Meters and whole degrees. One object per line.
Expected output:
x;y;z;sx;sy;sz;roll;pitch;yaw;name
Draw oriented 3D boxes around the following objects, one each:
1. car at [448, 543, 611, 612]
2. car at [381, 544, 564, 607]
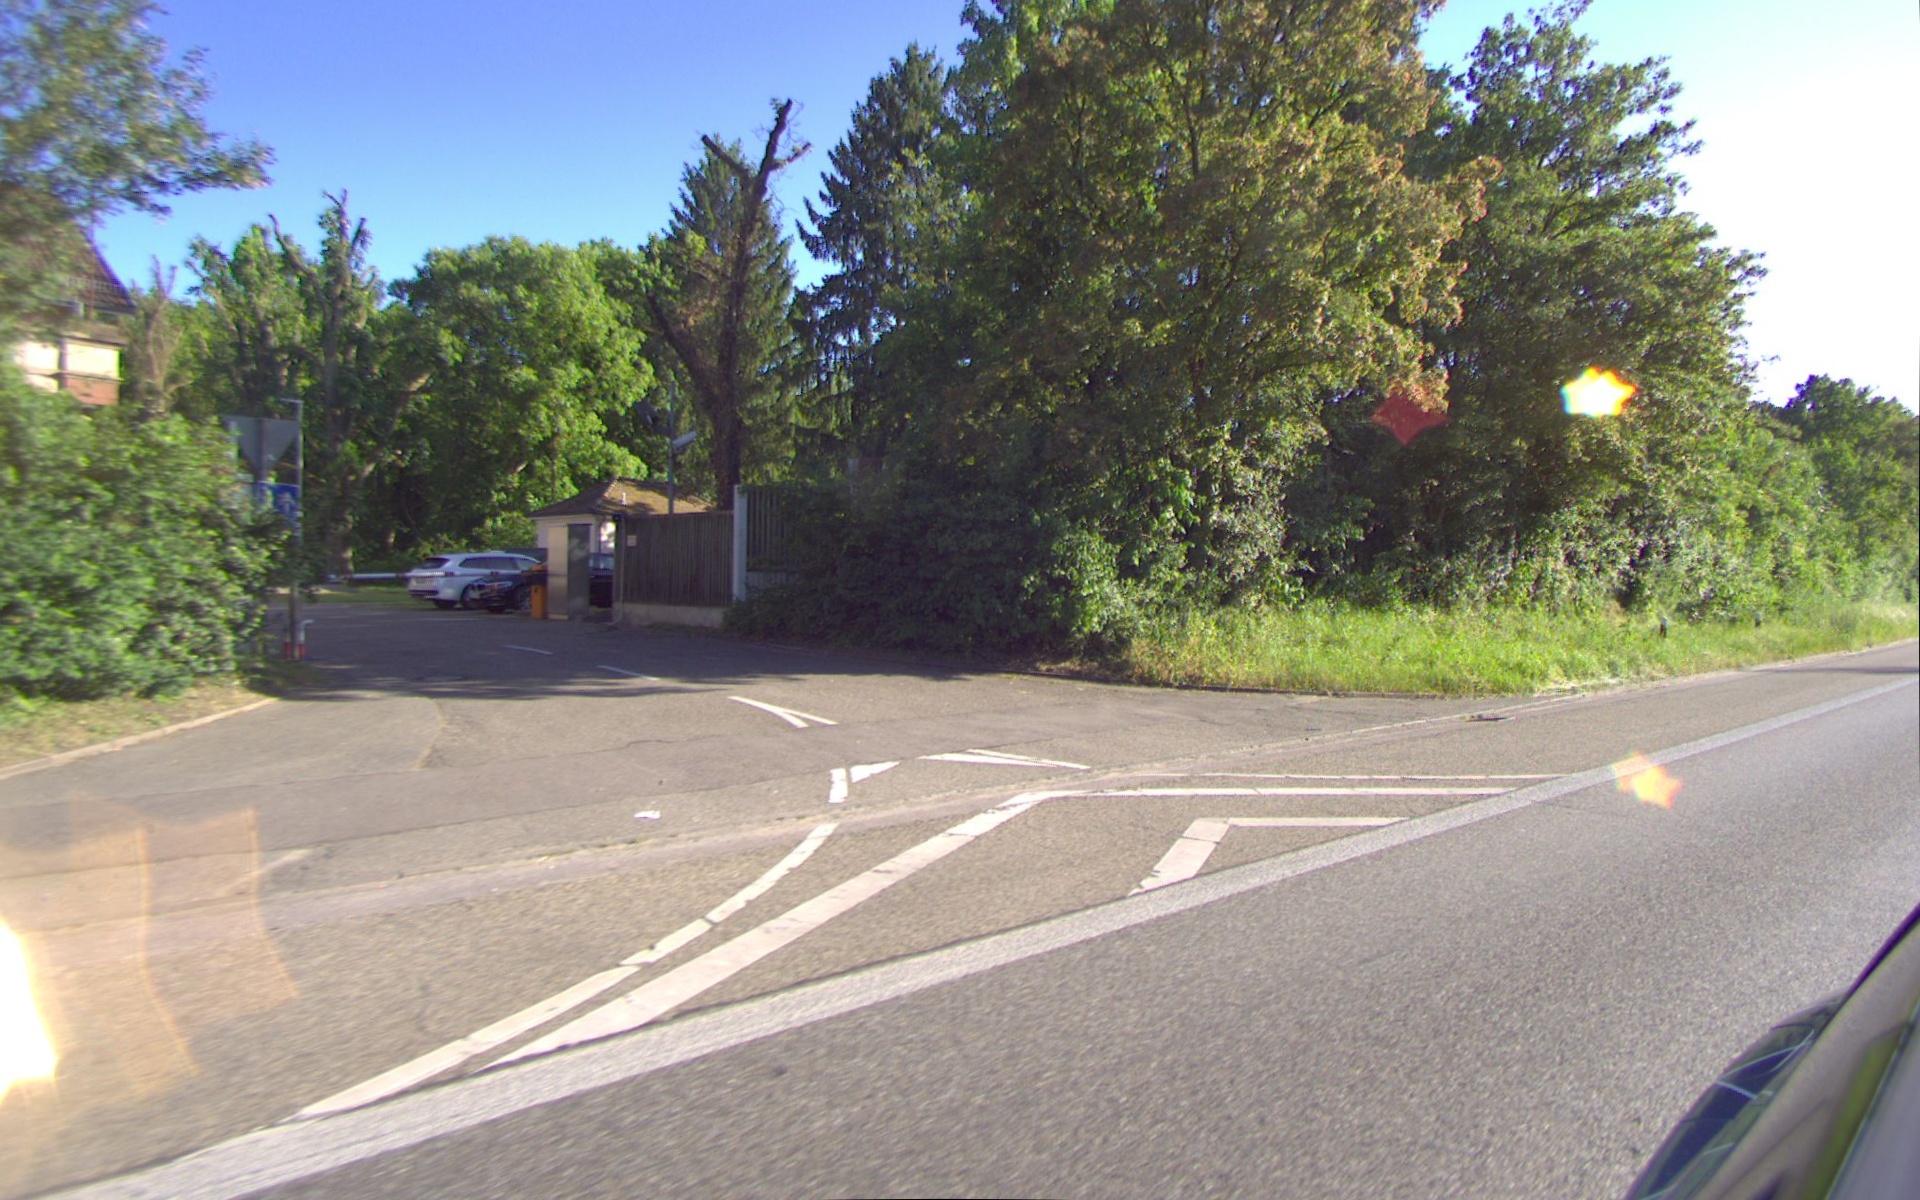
-10.510;-0.572;25.050;1.966;1.526;3.992;1;2;7;car
-12.889;-0.657;26.971;1.987;1.526;3.952;2;2;34;car
